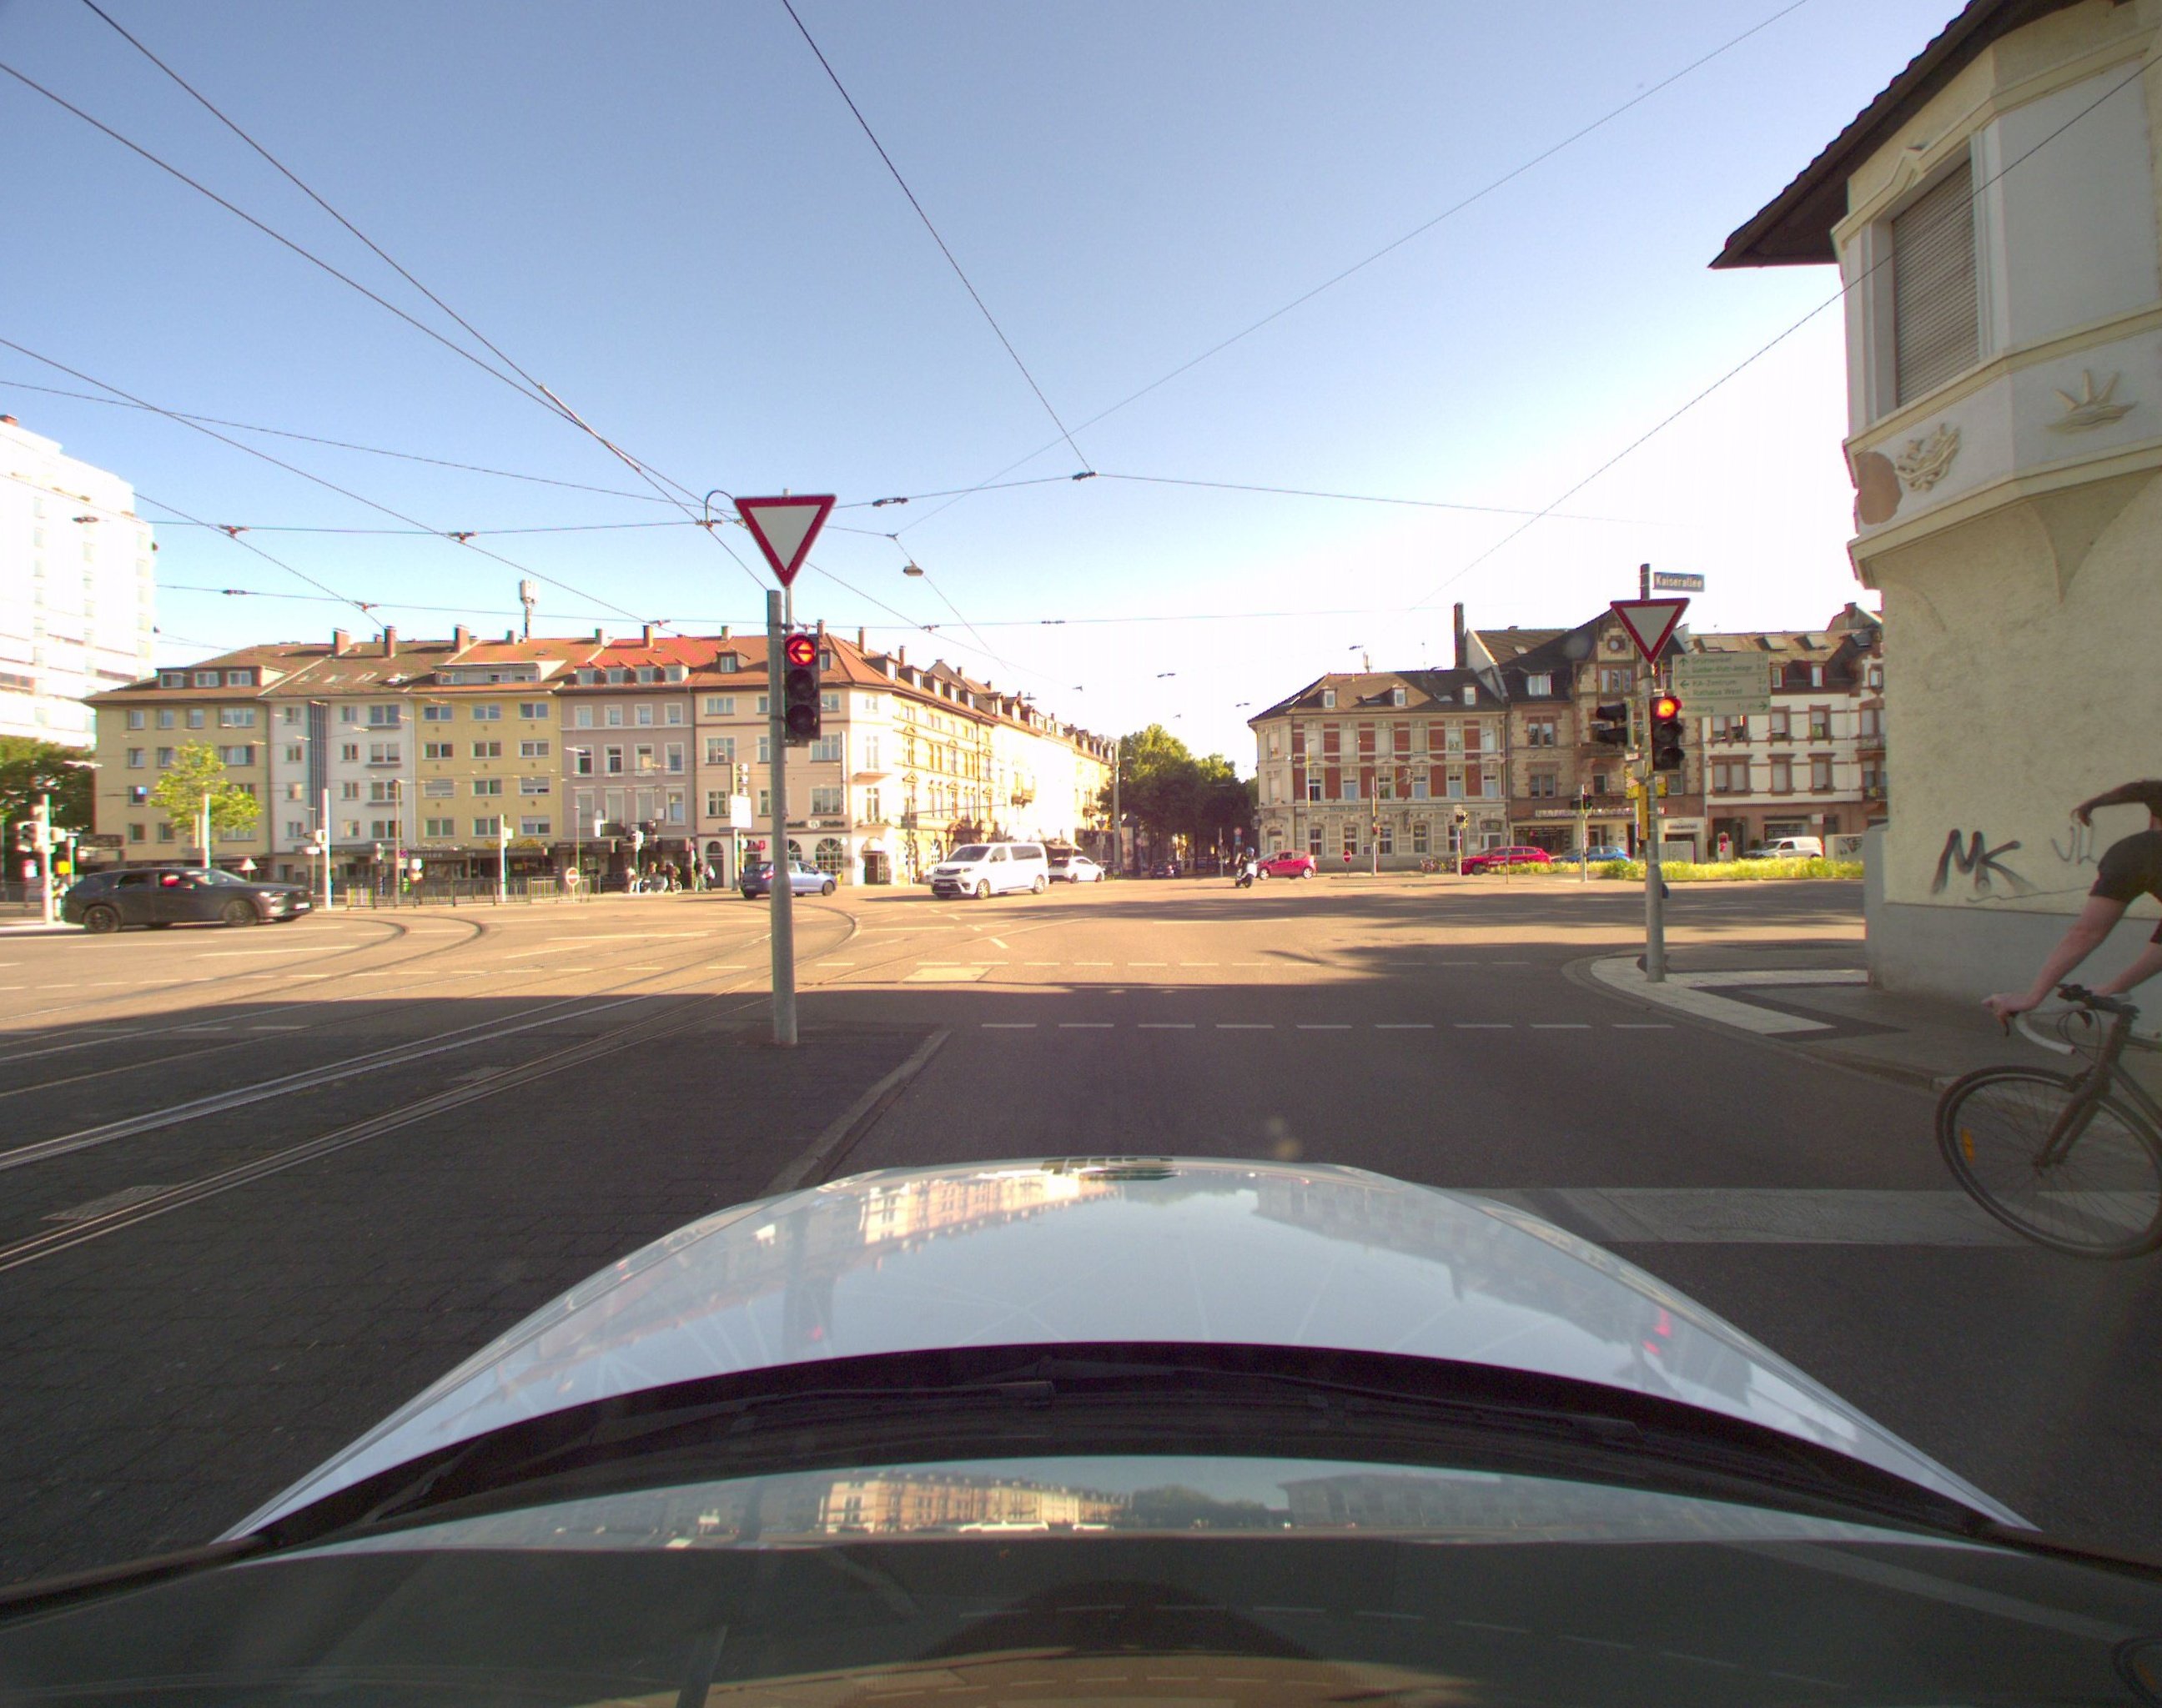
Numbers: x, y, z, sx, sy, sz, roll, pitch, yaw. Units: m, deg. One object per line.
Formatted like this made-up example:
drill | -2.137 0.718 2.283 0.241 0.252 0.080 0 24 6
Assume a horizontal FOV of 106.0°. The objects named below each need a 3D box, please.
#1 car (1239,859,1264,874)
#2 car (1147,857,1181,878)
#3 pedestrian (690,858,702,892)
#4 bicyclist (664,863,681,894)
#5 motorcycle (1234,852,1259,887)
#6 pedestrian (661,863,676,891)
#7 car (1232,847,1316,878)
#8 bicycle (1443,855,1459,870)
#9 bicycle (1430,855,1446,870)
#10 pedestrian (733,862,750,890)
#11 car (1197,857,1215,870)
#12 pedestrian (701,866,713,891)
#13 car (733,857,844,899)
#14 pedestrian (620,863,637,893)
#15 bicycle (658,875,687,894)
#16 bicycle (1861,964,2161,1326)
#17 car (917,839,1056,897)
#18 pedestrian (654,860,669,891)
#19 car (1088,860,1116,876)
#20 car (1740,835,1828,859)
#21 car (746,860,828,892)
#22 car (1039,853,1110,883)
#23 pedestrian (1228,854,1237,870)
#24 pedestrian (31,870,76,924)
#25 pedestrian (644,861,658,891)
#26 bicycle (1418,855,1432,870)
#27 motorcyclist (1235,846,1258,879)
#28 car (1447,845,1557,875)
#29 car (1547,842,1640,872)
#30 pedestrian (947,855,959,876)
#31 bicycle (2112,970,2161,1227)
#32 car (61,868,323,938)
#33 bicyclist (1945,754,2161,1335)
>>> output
car | 17.208 1.252 82.200 1.741 1.556 4.021 -1 -1 22
car | 6.007 0.946 58.468 1.812 1.403 4.016 -1 0 15
pedestrian | -21.134 1.158 44.676 0.529 1.823 0.672 0 -1 -19
bicyclist | -23.825 1.401 47.523 0.618 1.790 0.616 0 -1 7
motorcycle | 6.515 0.588 32.196 0.790 1.333 2.146 0 -1 7
pedestrian | -22.205 1.251 43.814 0.489 1.492 0.556 0 -1 1
car | 9.796 0.411 41.311 3.876 1.426 1.587 -1 0 -16
bicycle | 24.049 0.564 52.962 0.758 0.983 2.221 -1 -1 20
bicycle | 23.262 0.571 53.085 0.758 0.968 2.221 -1 -1 20
pedestrian | -20.086 1.317 48.185 0.580 1.648 0.840 0 -1 1
car | 17.885 1.346 116.365 1.978 1.684 4.018 -1 -1 17
pedestrian | -21.563 1.403 46.931 0.401 1.419 0.625 0 -1 -4
car | -11.578 0.942 32.485 1.768 1.503 3.943 -2 -1 27
pedestrian | -25.323 1.331 45.612 0.582 1.648 0.616 0 -1 1
bicycle | -23.822 1.781 47.522 0.618 1.030 1.758 0 -1 7
bicycle | 3.587 0.965 2.620 0.480 0.991 1.783 0 -1 2
car | -3.177 0.479 28.733 1.974 1.854 5.249 -2 -1 32
pedestrian | -22.793 1.176 44.228 0.520 1.648 0.498 0 -1 1
car | 2.098 1.348 79.849 1.788 1.575 3.908 -1 -1 17
car | 45.215 -0.440 52.425 3.961 1.438 1.874 0 -1 5
car | -15.665 1.157 43.363 4.145 1.575 1.843 -1 0 31
car | -0.305 0.735 44.941 1.874 1.454 4.034 -2 1 35
pedestrian | 19.183 1.051 103.350 0.941 2.014 0.825 0 -1 -2
pedestrian | -31.746 1.306 25.161 0.770 1.609 0.605 0 -1 -44
pedestrian | -23.354 1.182 44.229 0.520 1.648 0.498 0 -1 1
bicycle | 22.507 0.578 53.352 0.758 0.963 2.221 -1 -1 20
motorcyclist | 6.533 0.335 32.215 0.782 1.300 1.020 0 -1 6
car | 21.902 0.299 42.486 4.841 1.469 1.804 -1 1 1
car | 28.330 0.180 45.109 3.970 1.622 1.806 0 -1 3
pedestrian | -10.090 0.910 64.146 0.562 1.642 0.797 -1 -1 25
bicycle | 4.457 0.962 2.440 0.501 0.983 1.783 0 -1 2
car | -24.077 1.276 22.285 4.451 1.602 1.863 -2 0 -18
bicyclist | 3.583 0.579 2.623 0.587 1.767 0.936 0 -1 2
